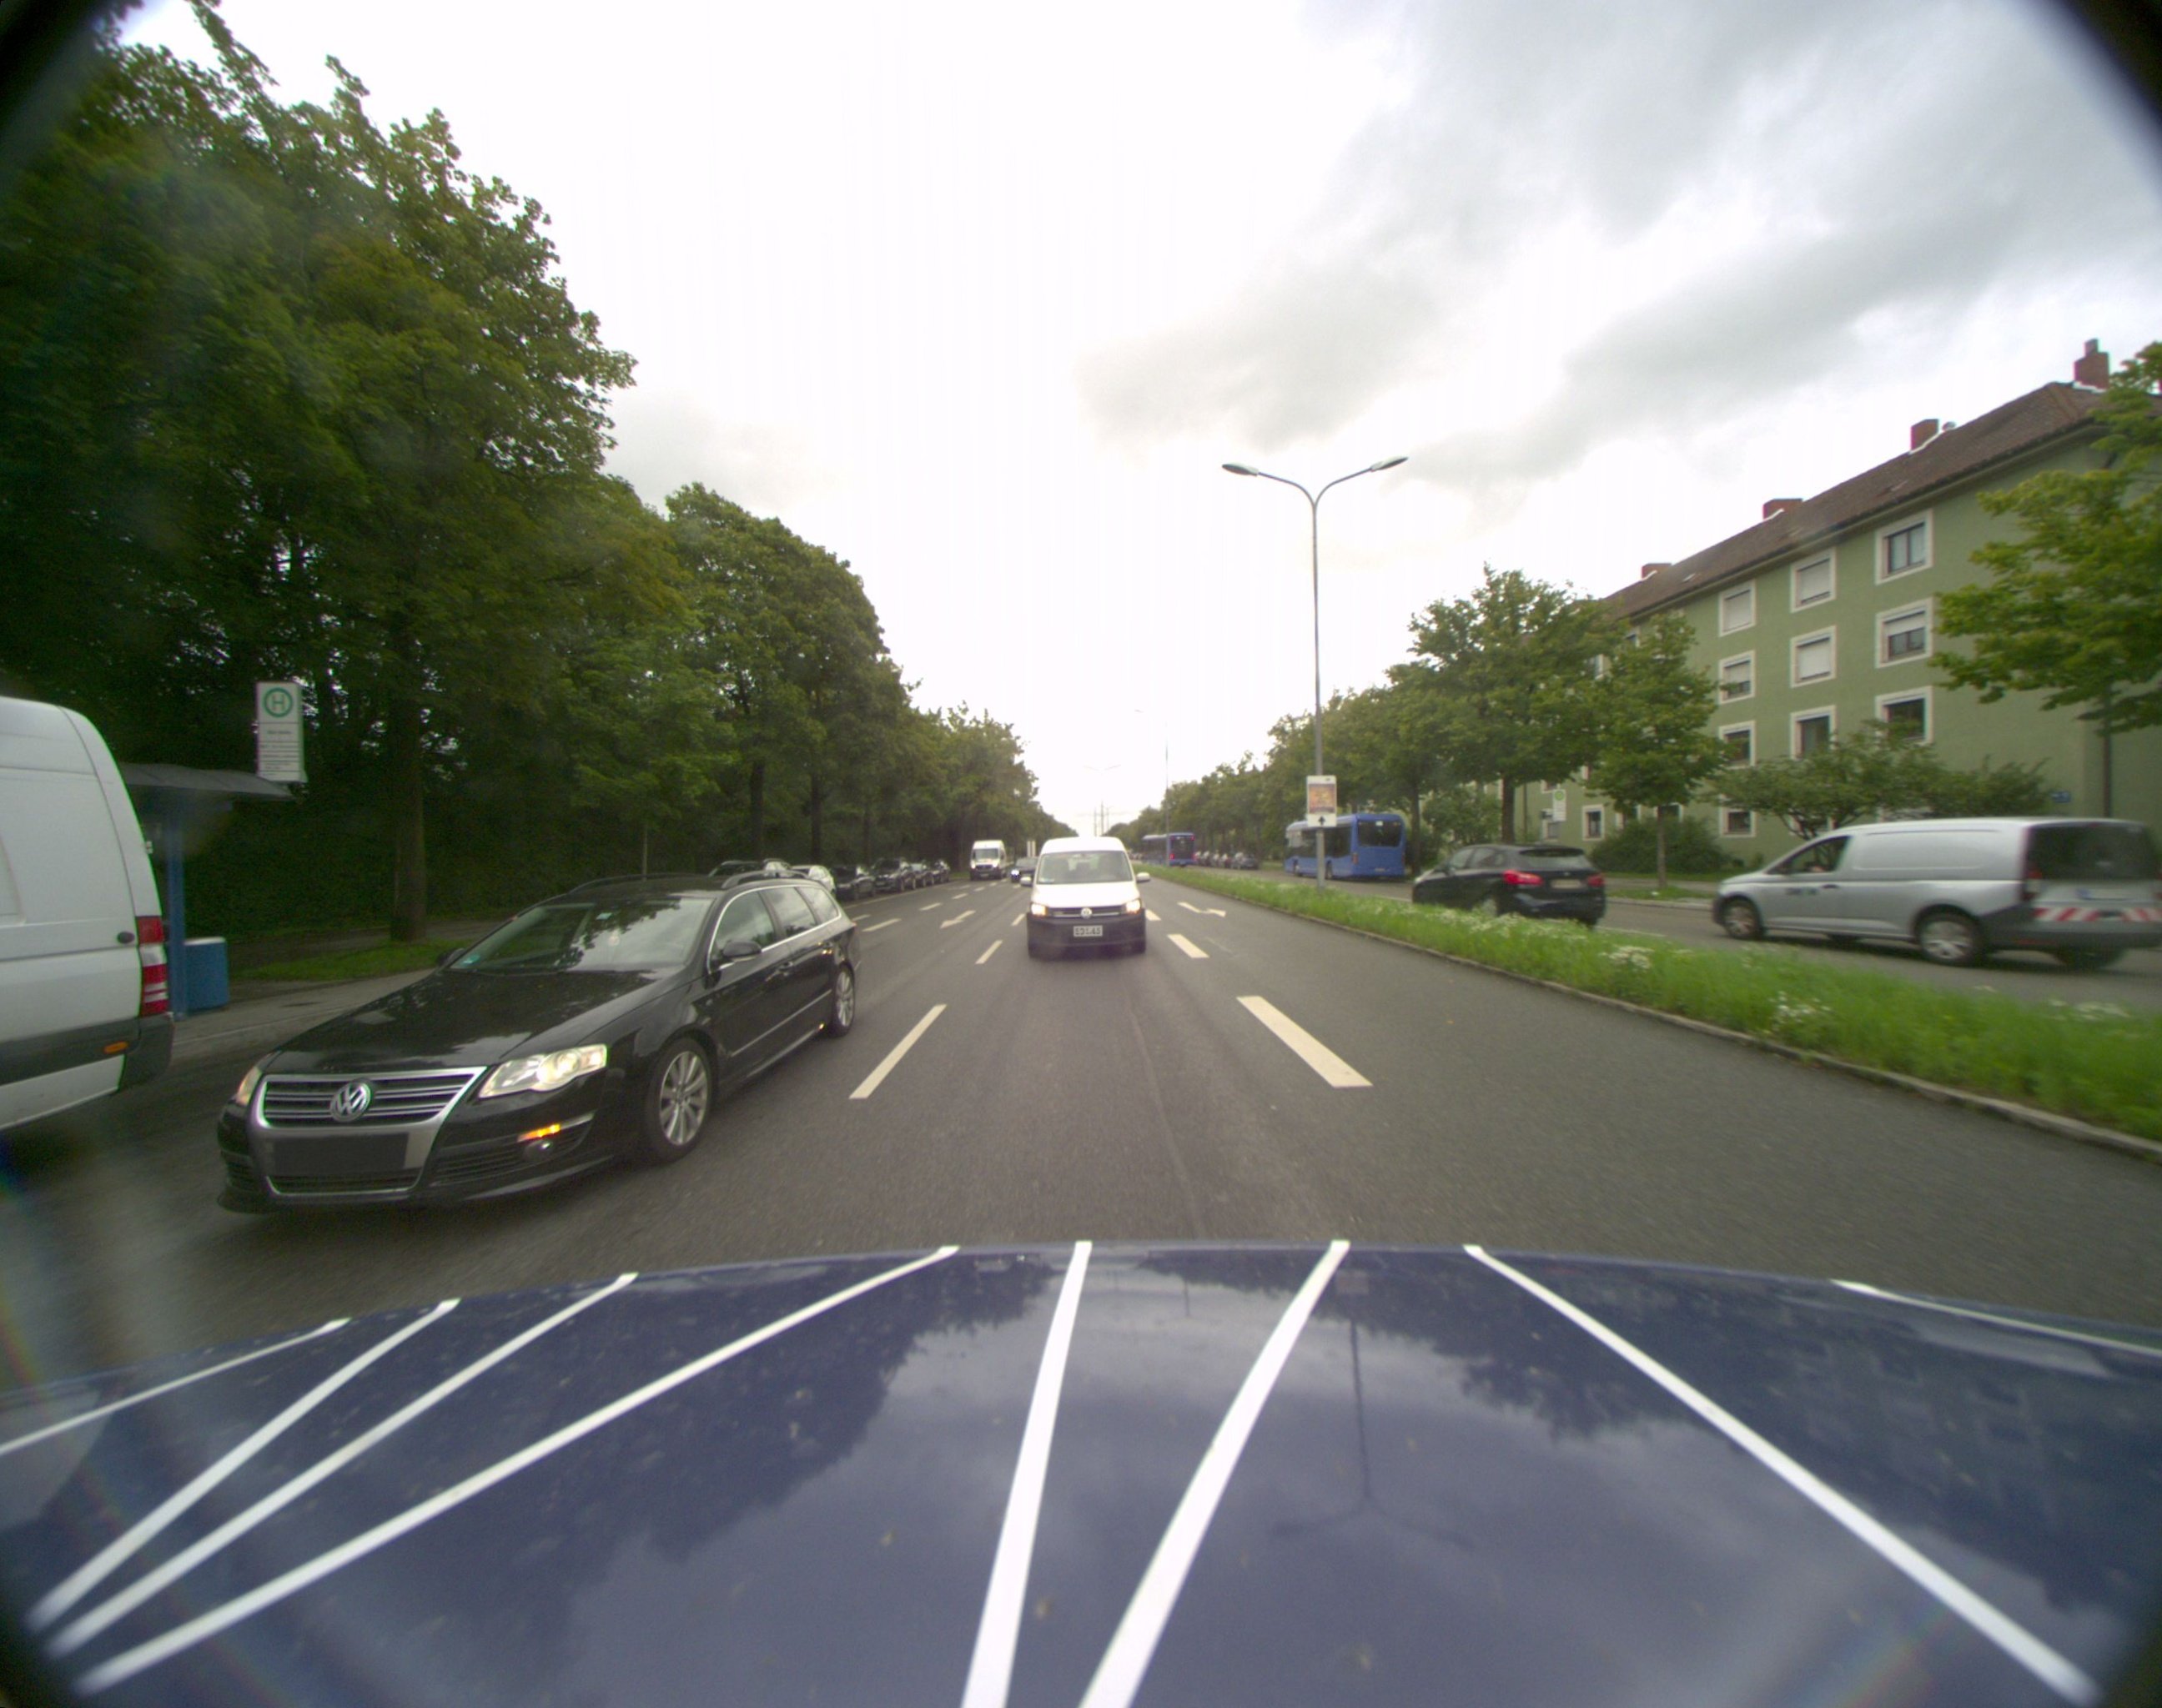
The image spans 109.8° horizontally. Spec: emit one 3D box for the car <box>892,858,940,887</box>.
[{"bbox_3d":[-9.098,0.981,42.266,1.752,1.459,4.038,-1,1,0],"label":"car"}]

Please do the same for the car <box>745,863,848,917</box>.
[{"bbox_3d":[-9.403,1.139,25.485,1.752,1.515,4.396,-1,1,0],"label":"car"}]

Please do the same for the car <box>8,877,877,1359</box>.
[{"bbox_3d":[-2.880,1.011,5.028,1.752,1.466,4.670,-2,1,0],"label":"car"}]

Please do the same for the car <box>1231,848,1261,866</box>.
[{"bbox_3d":[14.501,0.257,66.972,1.857,1.454,3.910,-3,0,1],"label":"car"}]

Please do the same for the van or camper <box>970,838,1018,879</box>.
[{"bbox_3d":[-5.751,0.227,51.397,2.183,2.546,7.074,-1,1,2],"label":"van or camper"}]

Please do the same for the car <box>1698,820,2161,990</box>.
[{"bbox_3d":[11.154,0.536,10.349,1.784,1.801,4.429,1,1,-1],"label":"car"}]

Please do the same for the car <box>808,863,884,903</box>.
[{"bbox_3d":[-9.499,1.123,31.023,1.752,1.420,4.254,-1,1,0],"label":"car"}]

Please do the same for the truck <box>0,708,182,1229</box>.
[{"bbox_3d":[-6.373,0.619,0.876,1.999,2.589,7.226,-2,1,0],"label":"truck"}]

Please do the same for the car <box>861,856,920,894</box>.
[{"bbox_3d":[-9.113,0.956,36.748,1.752,1.640,4.254,-1,1,0],"label":"car"}]

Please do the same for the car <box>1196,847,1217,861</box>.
[{"bbox_3d":[14.638,0.007,88.863,1.857,1.454,3.910,-3,0,1],"label":"car"}]

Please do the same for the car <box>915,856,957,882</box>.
[{"bbox_3d":[-8.969,0.921,47.218,1.752,1.459,4.254,-1,1,0],"label":"car"}]

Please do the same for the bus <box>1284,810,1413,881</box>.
[{"bbox_3d":[14.153,-0.457,41.644,2.752,3.324,12.047,0,1,0],"label":"bus"}]

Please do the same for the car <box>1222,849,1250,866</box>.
[{"bbox_3d":[14.608,0.291,71.851,1.857,1.454,3.910,-3,0,1],"label":"car"}]

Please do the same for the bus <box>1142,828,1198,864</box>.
[{"bbox_3d":[8.731,-0.768,76.549,2.754,3.324,12.264,0,1,-7],"label":"bus"}]

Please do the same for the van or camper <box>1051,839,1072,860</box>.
[{"bbox_3d":[-3.091,-0.690,122.169,2.780,3.219,7.074,-1,1,2],"label":"van or camper"}]

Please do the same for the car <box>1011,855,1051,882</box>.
[{"bbox_3d":[-2.870,0.813,44.725,1.819,1.421,4.671,-3,0,2],"label":"car"}]

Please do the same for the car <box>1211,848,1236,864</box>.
[{"bbox_3d":[14.494,0.185,77.526,1.857,1.454,3.910,-3,0,1],"label":"car"}]

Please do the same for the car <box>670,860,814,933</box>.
[{"bbox_3d":[-8.962,1.048,20.540,1.884,1.640,4.396,-1,1,0],"label":"car"}]

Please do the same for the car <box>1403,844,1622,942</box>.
[{"bbox_3d":[7.951,0.621,14.529,1.702,1.561,4.290,-1,1,-1],"label":"car"}]

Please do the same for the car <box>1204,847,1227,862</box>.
[{"bbox_3d":[14.577,0.053,82.580,1.857,1.454,3.910,-3,0,1],"label":"car"}]

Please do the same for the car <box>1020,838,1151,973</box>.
[{"bbox_3d":[0.056,0.687,12.756,1.752,1.809,4.670,-1,1,0],"label":"car"}]
